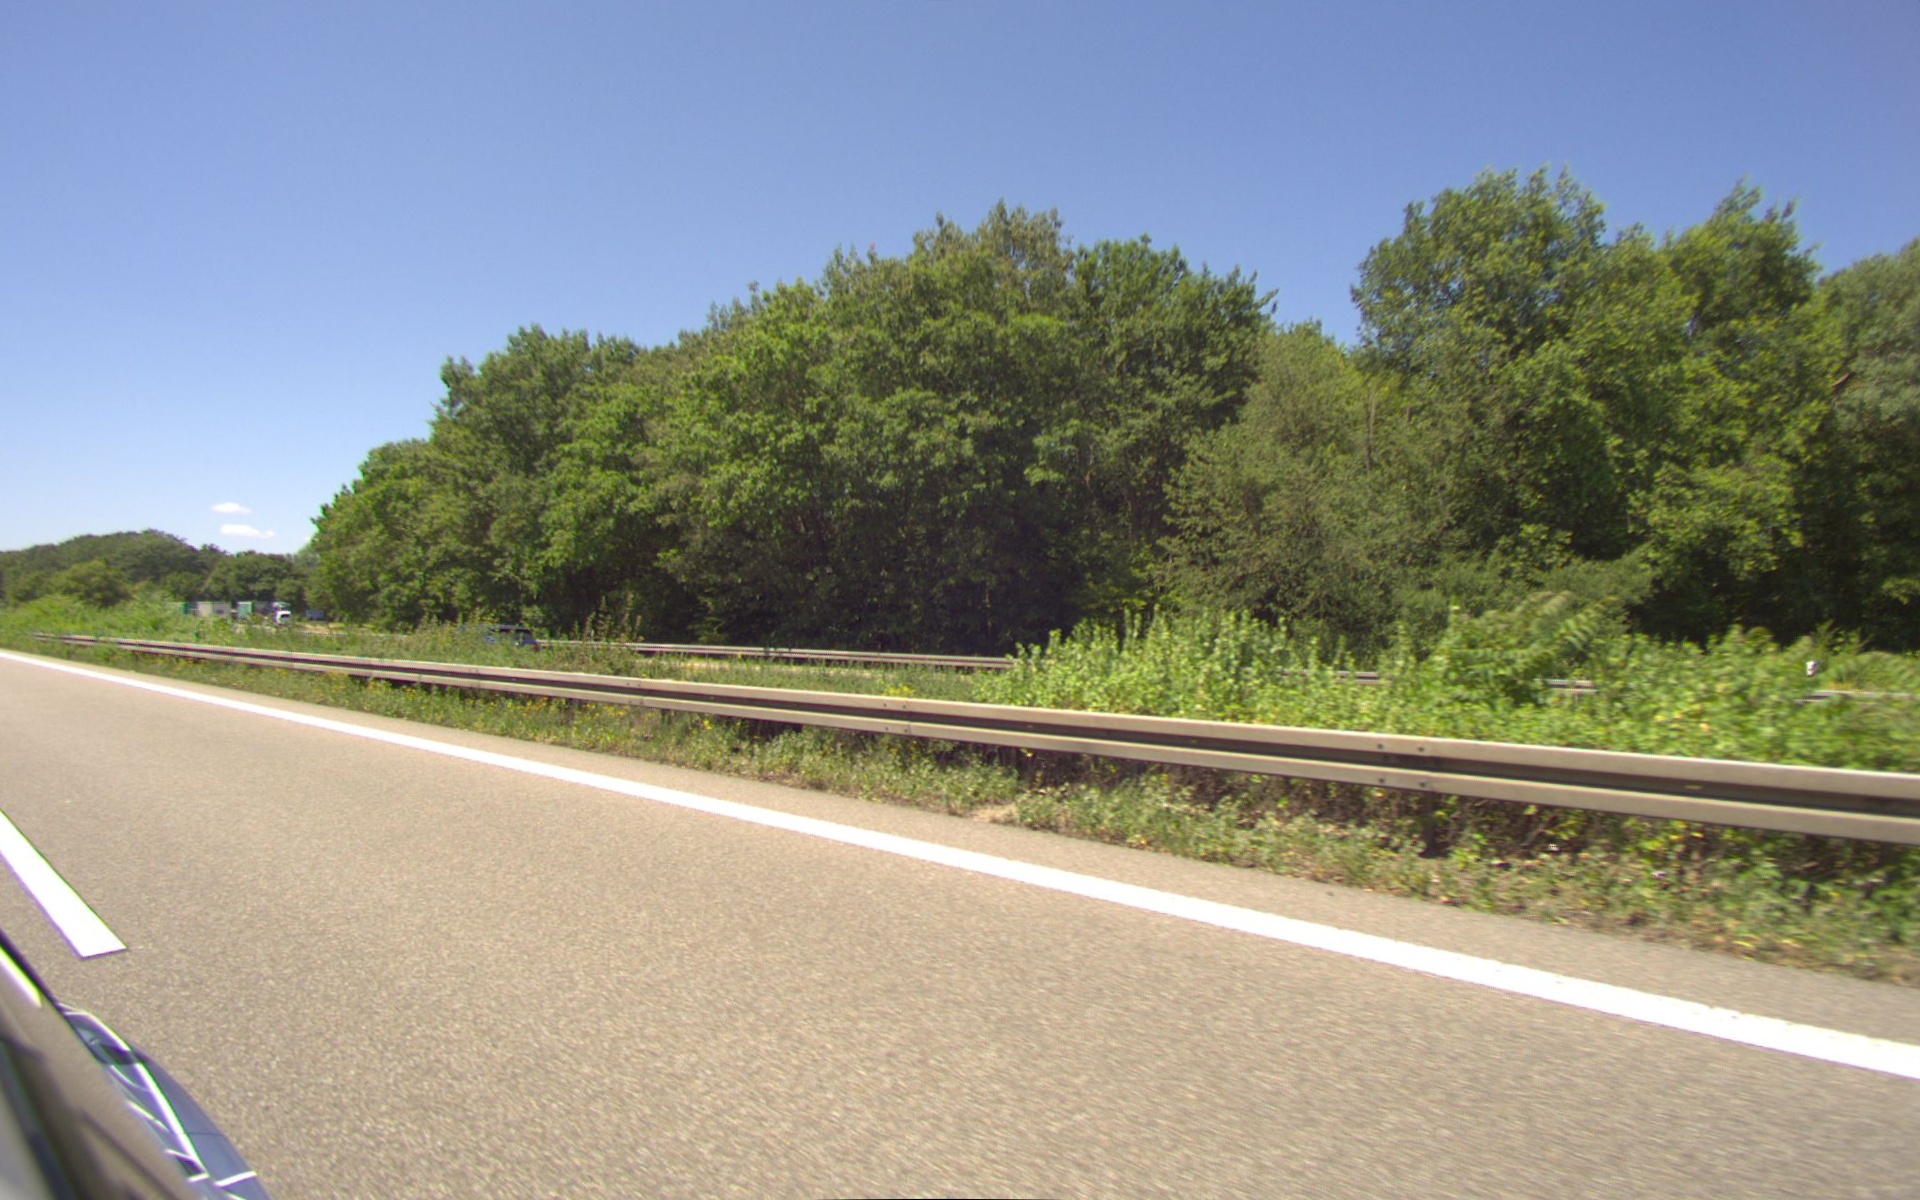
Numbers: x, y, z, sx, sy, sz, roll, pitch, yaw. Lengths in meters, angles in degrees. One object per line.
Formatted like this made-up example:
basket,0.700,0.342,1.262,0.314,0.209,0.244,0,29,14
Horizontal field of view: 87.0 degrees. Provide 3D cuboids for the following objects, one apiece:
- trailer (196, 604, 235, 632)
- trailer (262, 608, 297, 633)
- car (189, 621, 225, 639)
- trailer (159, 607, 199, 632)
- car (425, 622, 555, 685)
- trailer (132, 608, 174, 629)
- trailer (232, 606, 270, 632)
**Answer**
trailer,-119.339,2.866,162.141,3.178,4.167,14.061,-1,0,-44
trailer,-105.945,3.224,157.437,3.554,3.684,14.052,1,-2,-38
car,-73.363,2.913,98.551,3.997,1.606,1.951,-1,1,40
trailer,-148.799,3.684,192.727,14.018,4.627,3.563,-1,-2,42
car,-12.786,1.403,27.448,3.998,1.575,1.697,-1,-2,41
trailer,-164.027,3.805,205.563,14.004,4.296,3.566,-1,-2,38
trailer,-129.991,3.496,185.411,3.559,4.627,14.034,2,-2,-44
